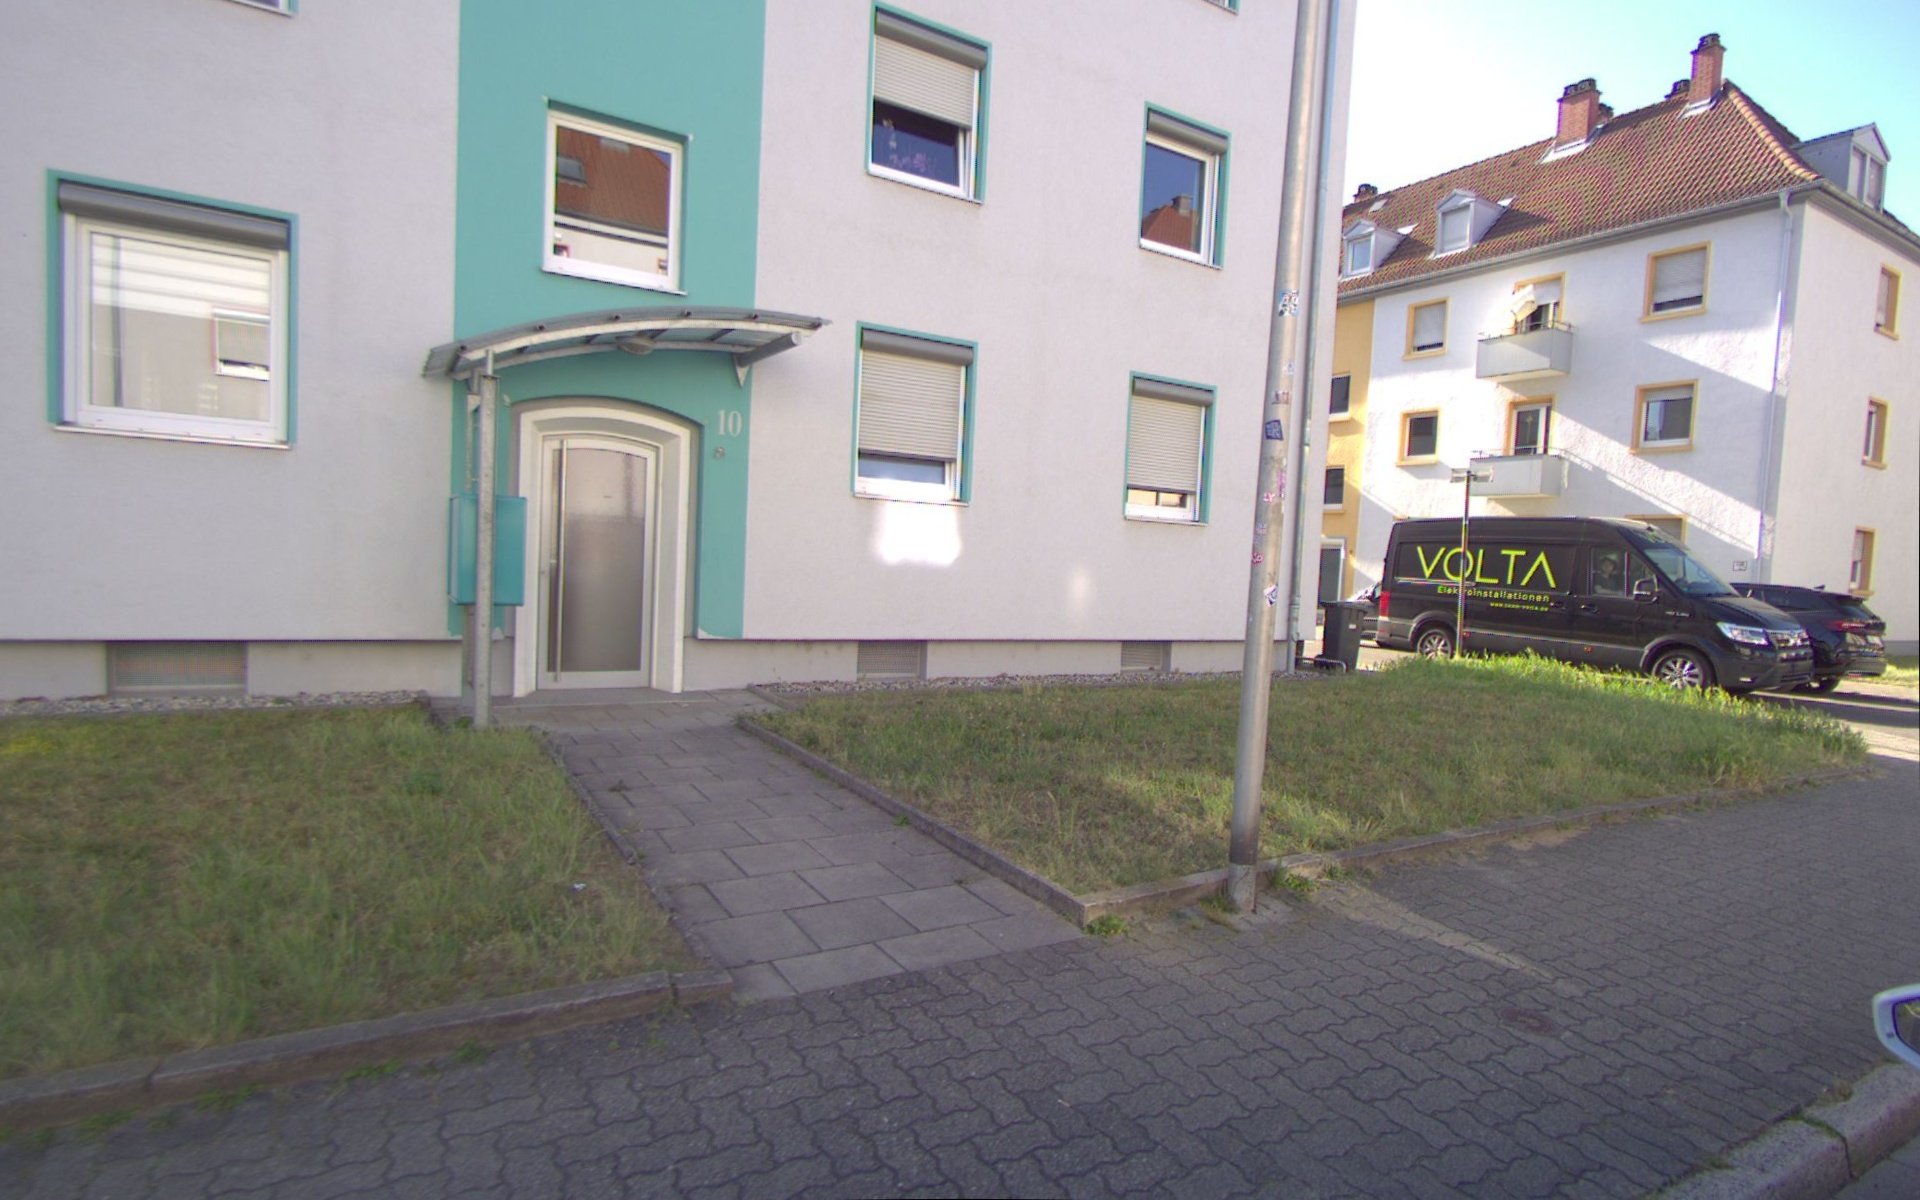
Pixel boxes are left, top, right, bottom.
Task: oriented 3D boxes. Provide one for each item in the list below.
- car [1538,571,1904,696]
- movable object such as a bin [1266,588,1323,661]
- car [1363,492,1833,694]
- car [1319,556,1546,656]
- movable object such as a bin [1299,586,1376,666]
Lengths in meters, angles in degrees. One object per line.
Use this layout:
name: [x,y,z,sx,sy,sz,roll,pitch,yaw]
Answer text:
car: [12.386,0.461,16.706,1.700,1.686,4.465,3,1,-31]
movable object such as a bin: [4.658,0.337,14.002,0.526,0.962,0.495,1,3,-31]
car: [9.576,-0.219,15.836,1.977,2.579,5.908,1,2,-31]
car: [9.805,0.073,21.155,1.700,1.812,3.970,3,1,-31]
movable object such as a bin: [5.060,0.335,13.459,0.707,1.005,0.609,1,4,-32]
